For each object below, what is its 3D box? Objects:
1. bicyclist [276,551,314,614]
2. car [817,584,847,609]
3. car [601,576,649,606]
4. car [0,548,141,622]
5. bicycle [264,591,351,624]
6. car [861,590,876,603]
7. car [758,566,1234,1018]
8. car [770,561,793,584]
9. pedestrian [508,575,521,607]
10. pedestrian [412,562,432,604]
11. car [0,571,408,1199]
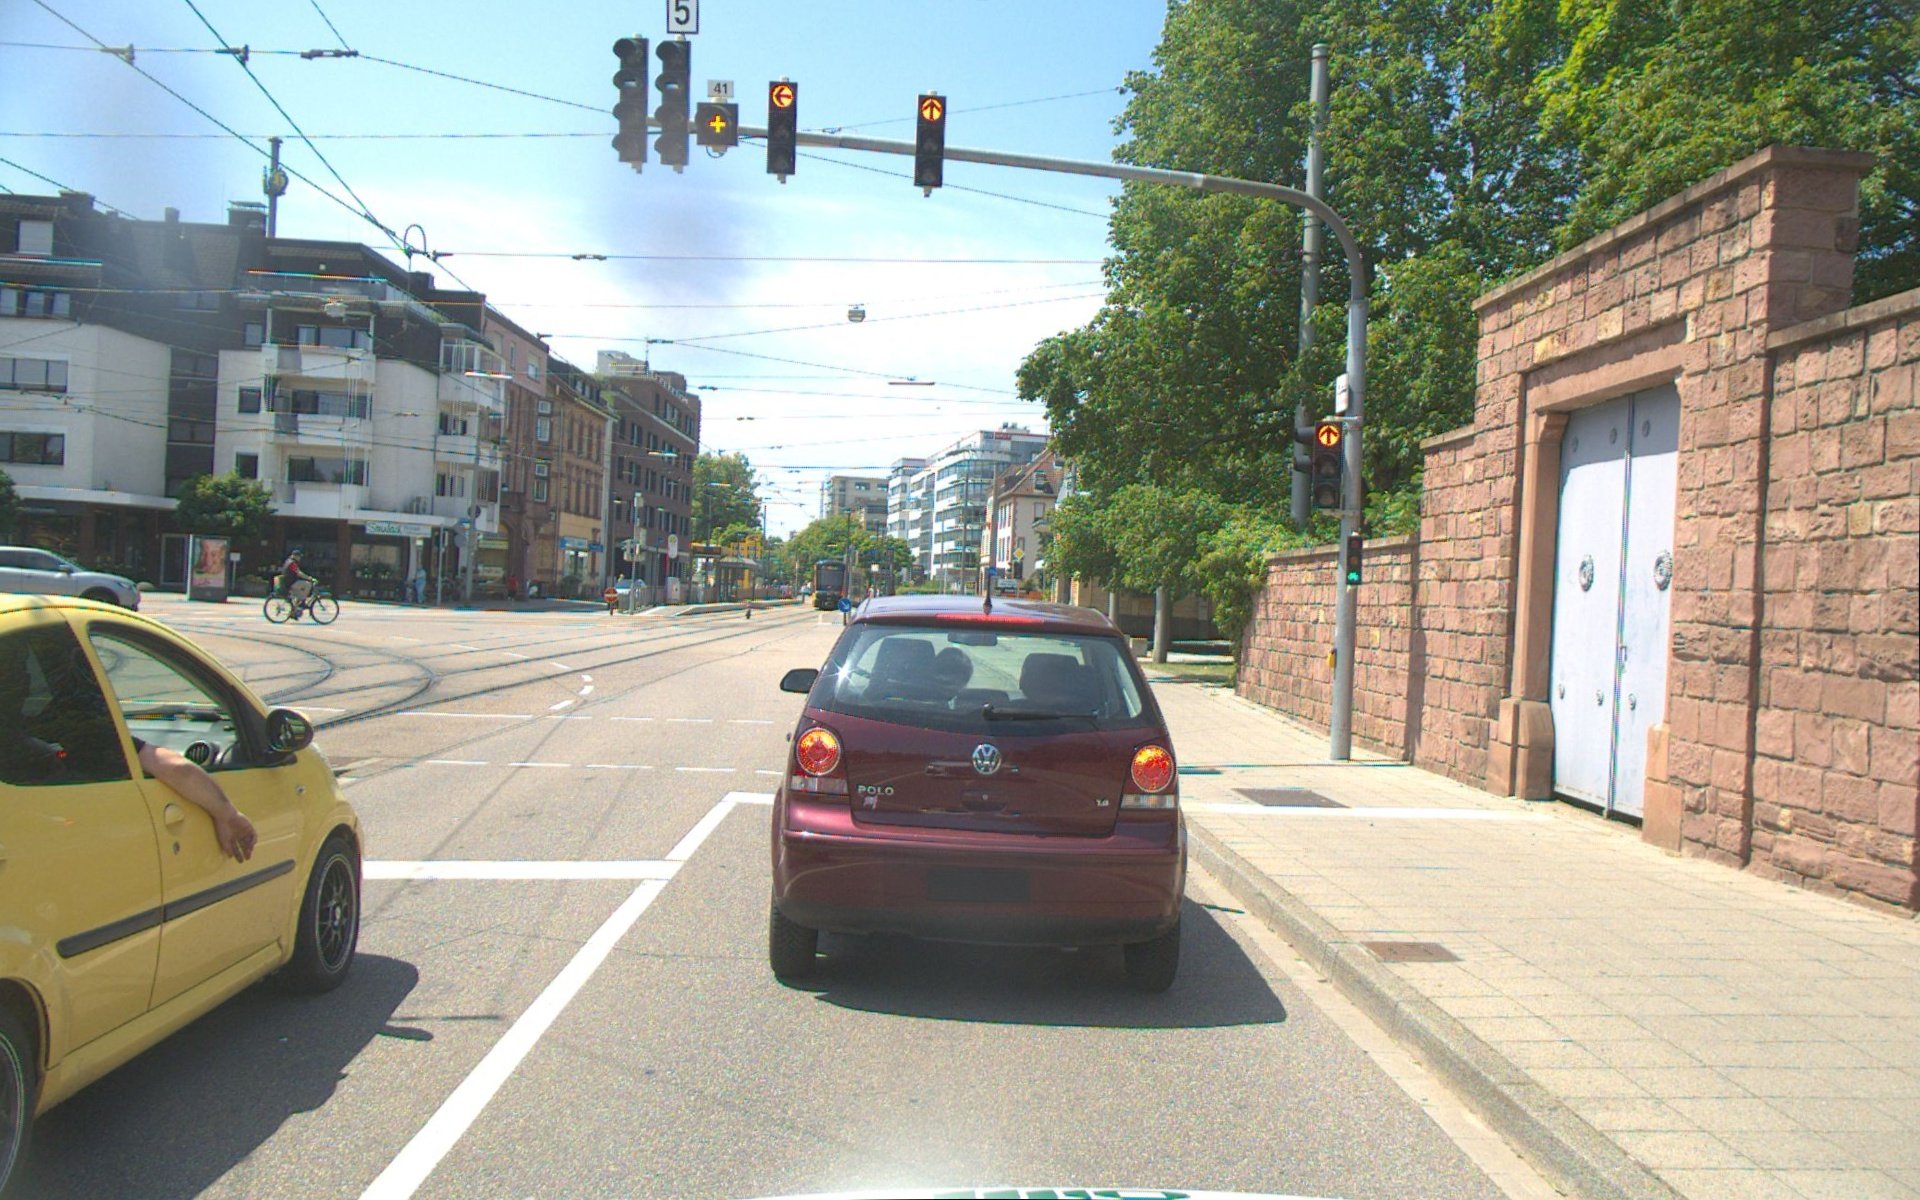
[{"bbox_3d":[-16.509,-0.429,41.057,0.745,1.527,0.475,2,-1,-41],"label":"bicyclist"},{"bbox_3d":[-8.999,-0.204,116.473,1.899,1.670,3.998,1,-1,-2],"label":"car"},{"bbox_3d":[-17.618,-0.472,87.095,1.654,1.488,4.000,2,0,0],"label":"car"},{"bbox_3d":[-21.335,-0.344,38.340,4.094,1.612,1.920,1,-1,-30],"label":"car"},{"bbox_3d":[-16.275,0.192,41.273,1.969,0.797,0.459,2,-1,-41],"label":"bicycle"},{"bbox_3d":[-11.721,-0.483,211.847,1.744,1.637,4.149,1,1,-3],"label":"car"},{"bbox_3d":[0.059,0.654,7.708,1.578,1.489,4.084,2,0,-2],"label":"car"},{"bbox_3d":[-16.570,-2.529,153.655,1.700,2.049,3.999,2,0,-1],"label":"car"},{"bbox_3d":[-21.629,-0.433,80.286,0.474,1.568,0.538,1,-1,-4],"label":"pedestrian"},{"bbox_3d":[-23.069,-0.739,70.904,0.497,1.785,0.606,0,-1,45],"label":"pedestrian"},{"bbox_3d":[-2.932,0.652,4.702,1.689,1.470,3.291,0,1,-2],"label":"car"}]
